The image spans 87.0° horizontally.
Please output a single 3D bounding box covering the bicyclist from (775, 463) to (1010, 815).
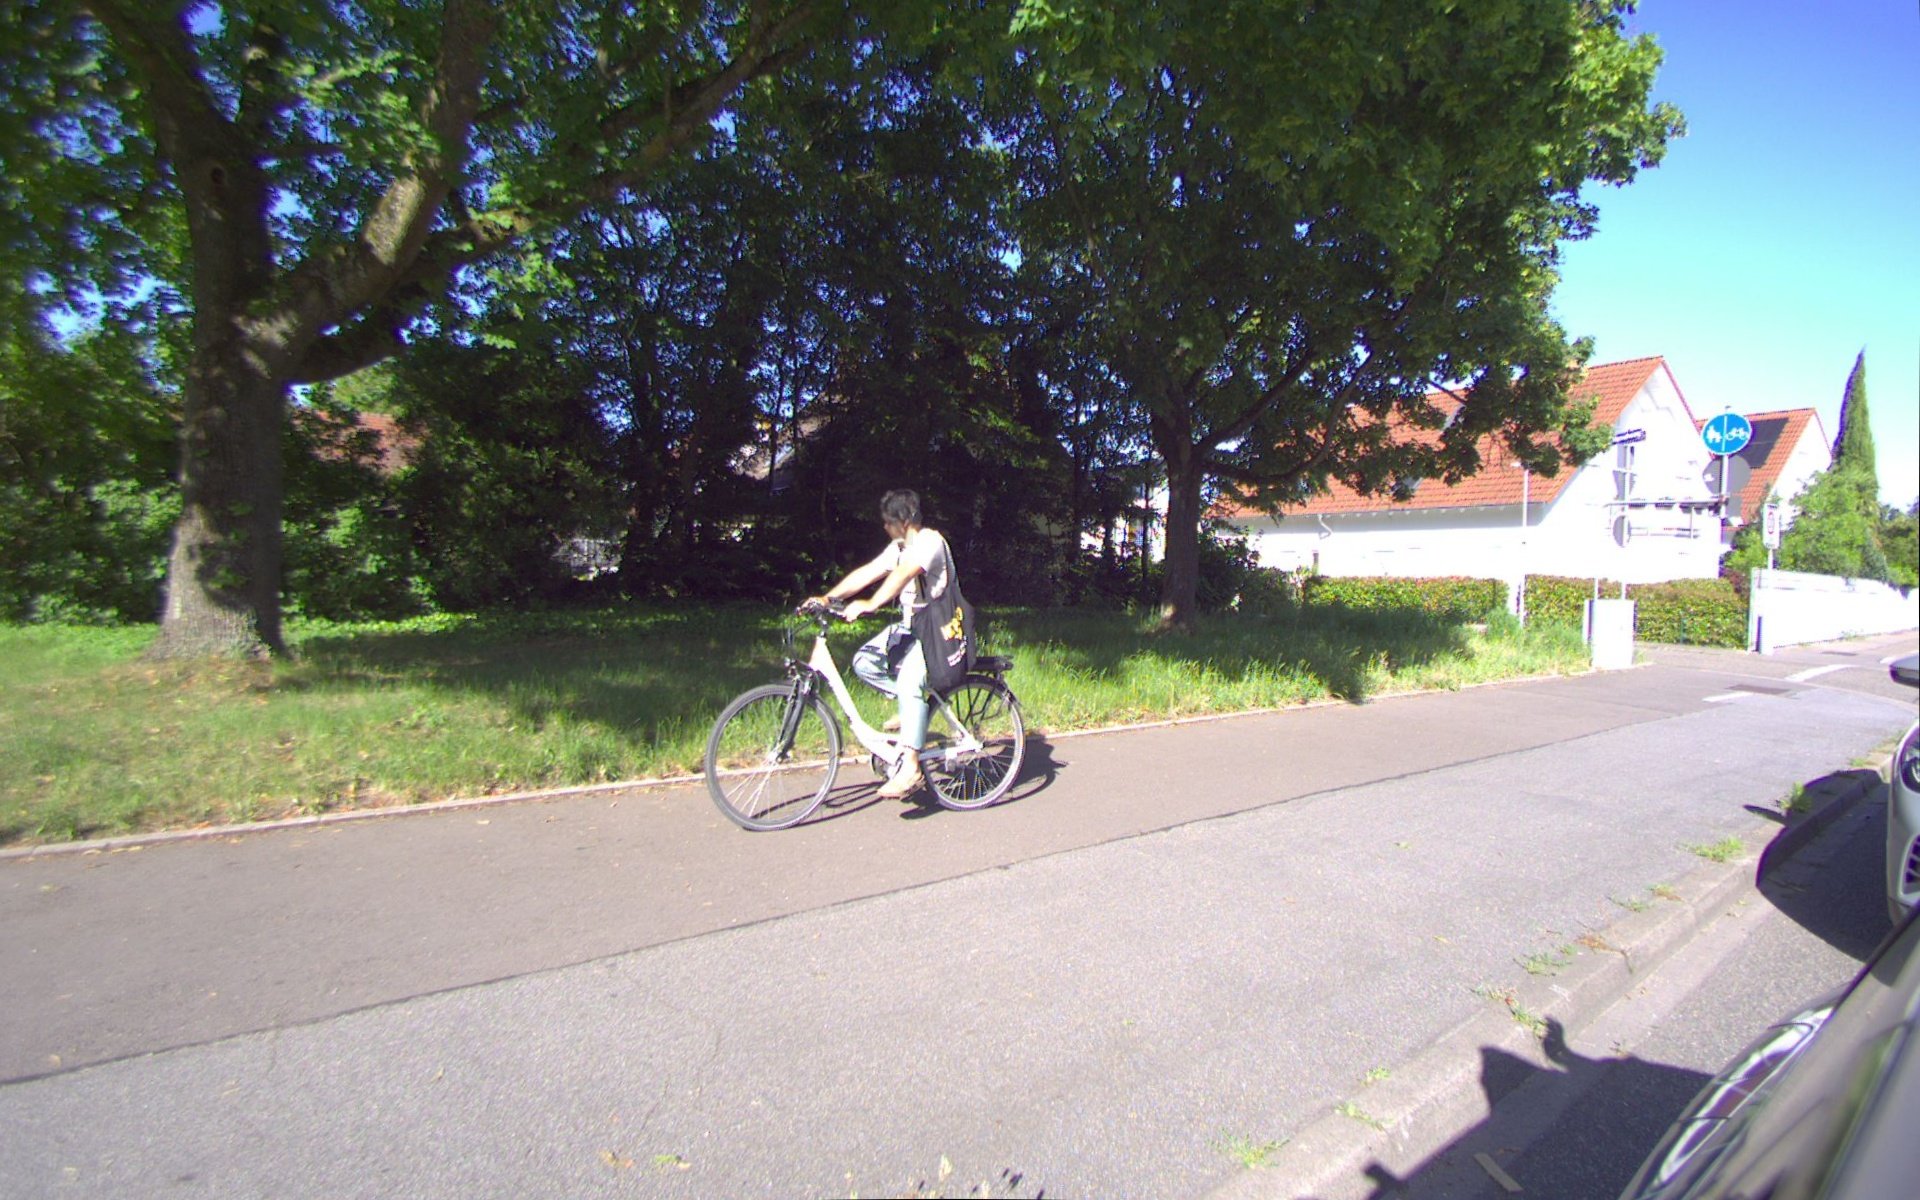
[{"bbox_3d":[-0.343,0.163,5.074,0.977,1.600,0.581,0,3,-30],"label":"bicyclist"}]

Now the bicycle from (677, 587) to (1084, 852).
[{"bbox_3d":[-0.357,0.517,5.085,1.948,1.111,0.581,0,3,-30],"label":"bicycle"}]

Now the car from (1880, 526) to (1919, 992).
[{"bbox_3d":[5.636,0.607,4.431,4.133,1.710,1.857,0,3,-41],"label":"car"}]
